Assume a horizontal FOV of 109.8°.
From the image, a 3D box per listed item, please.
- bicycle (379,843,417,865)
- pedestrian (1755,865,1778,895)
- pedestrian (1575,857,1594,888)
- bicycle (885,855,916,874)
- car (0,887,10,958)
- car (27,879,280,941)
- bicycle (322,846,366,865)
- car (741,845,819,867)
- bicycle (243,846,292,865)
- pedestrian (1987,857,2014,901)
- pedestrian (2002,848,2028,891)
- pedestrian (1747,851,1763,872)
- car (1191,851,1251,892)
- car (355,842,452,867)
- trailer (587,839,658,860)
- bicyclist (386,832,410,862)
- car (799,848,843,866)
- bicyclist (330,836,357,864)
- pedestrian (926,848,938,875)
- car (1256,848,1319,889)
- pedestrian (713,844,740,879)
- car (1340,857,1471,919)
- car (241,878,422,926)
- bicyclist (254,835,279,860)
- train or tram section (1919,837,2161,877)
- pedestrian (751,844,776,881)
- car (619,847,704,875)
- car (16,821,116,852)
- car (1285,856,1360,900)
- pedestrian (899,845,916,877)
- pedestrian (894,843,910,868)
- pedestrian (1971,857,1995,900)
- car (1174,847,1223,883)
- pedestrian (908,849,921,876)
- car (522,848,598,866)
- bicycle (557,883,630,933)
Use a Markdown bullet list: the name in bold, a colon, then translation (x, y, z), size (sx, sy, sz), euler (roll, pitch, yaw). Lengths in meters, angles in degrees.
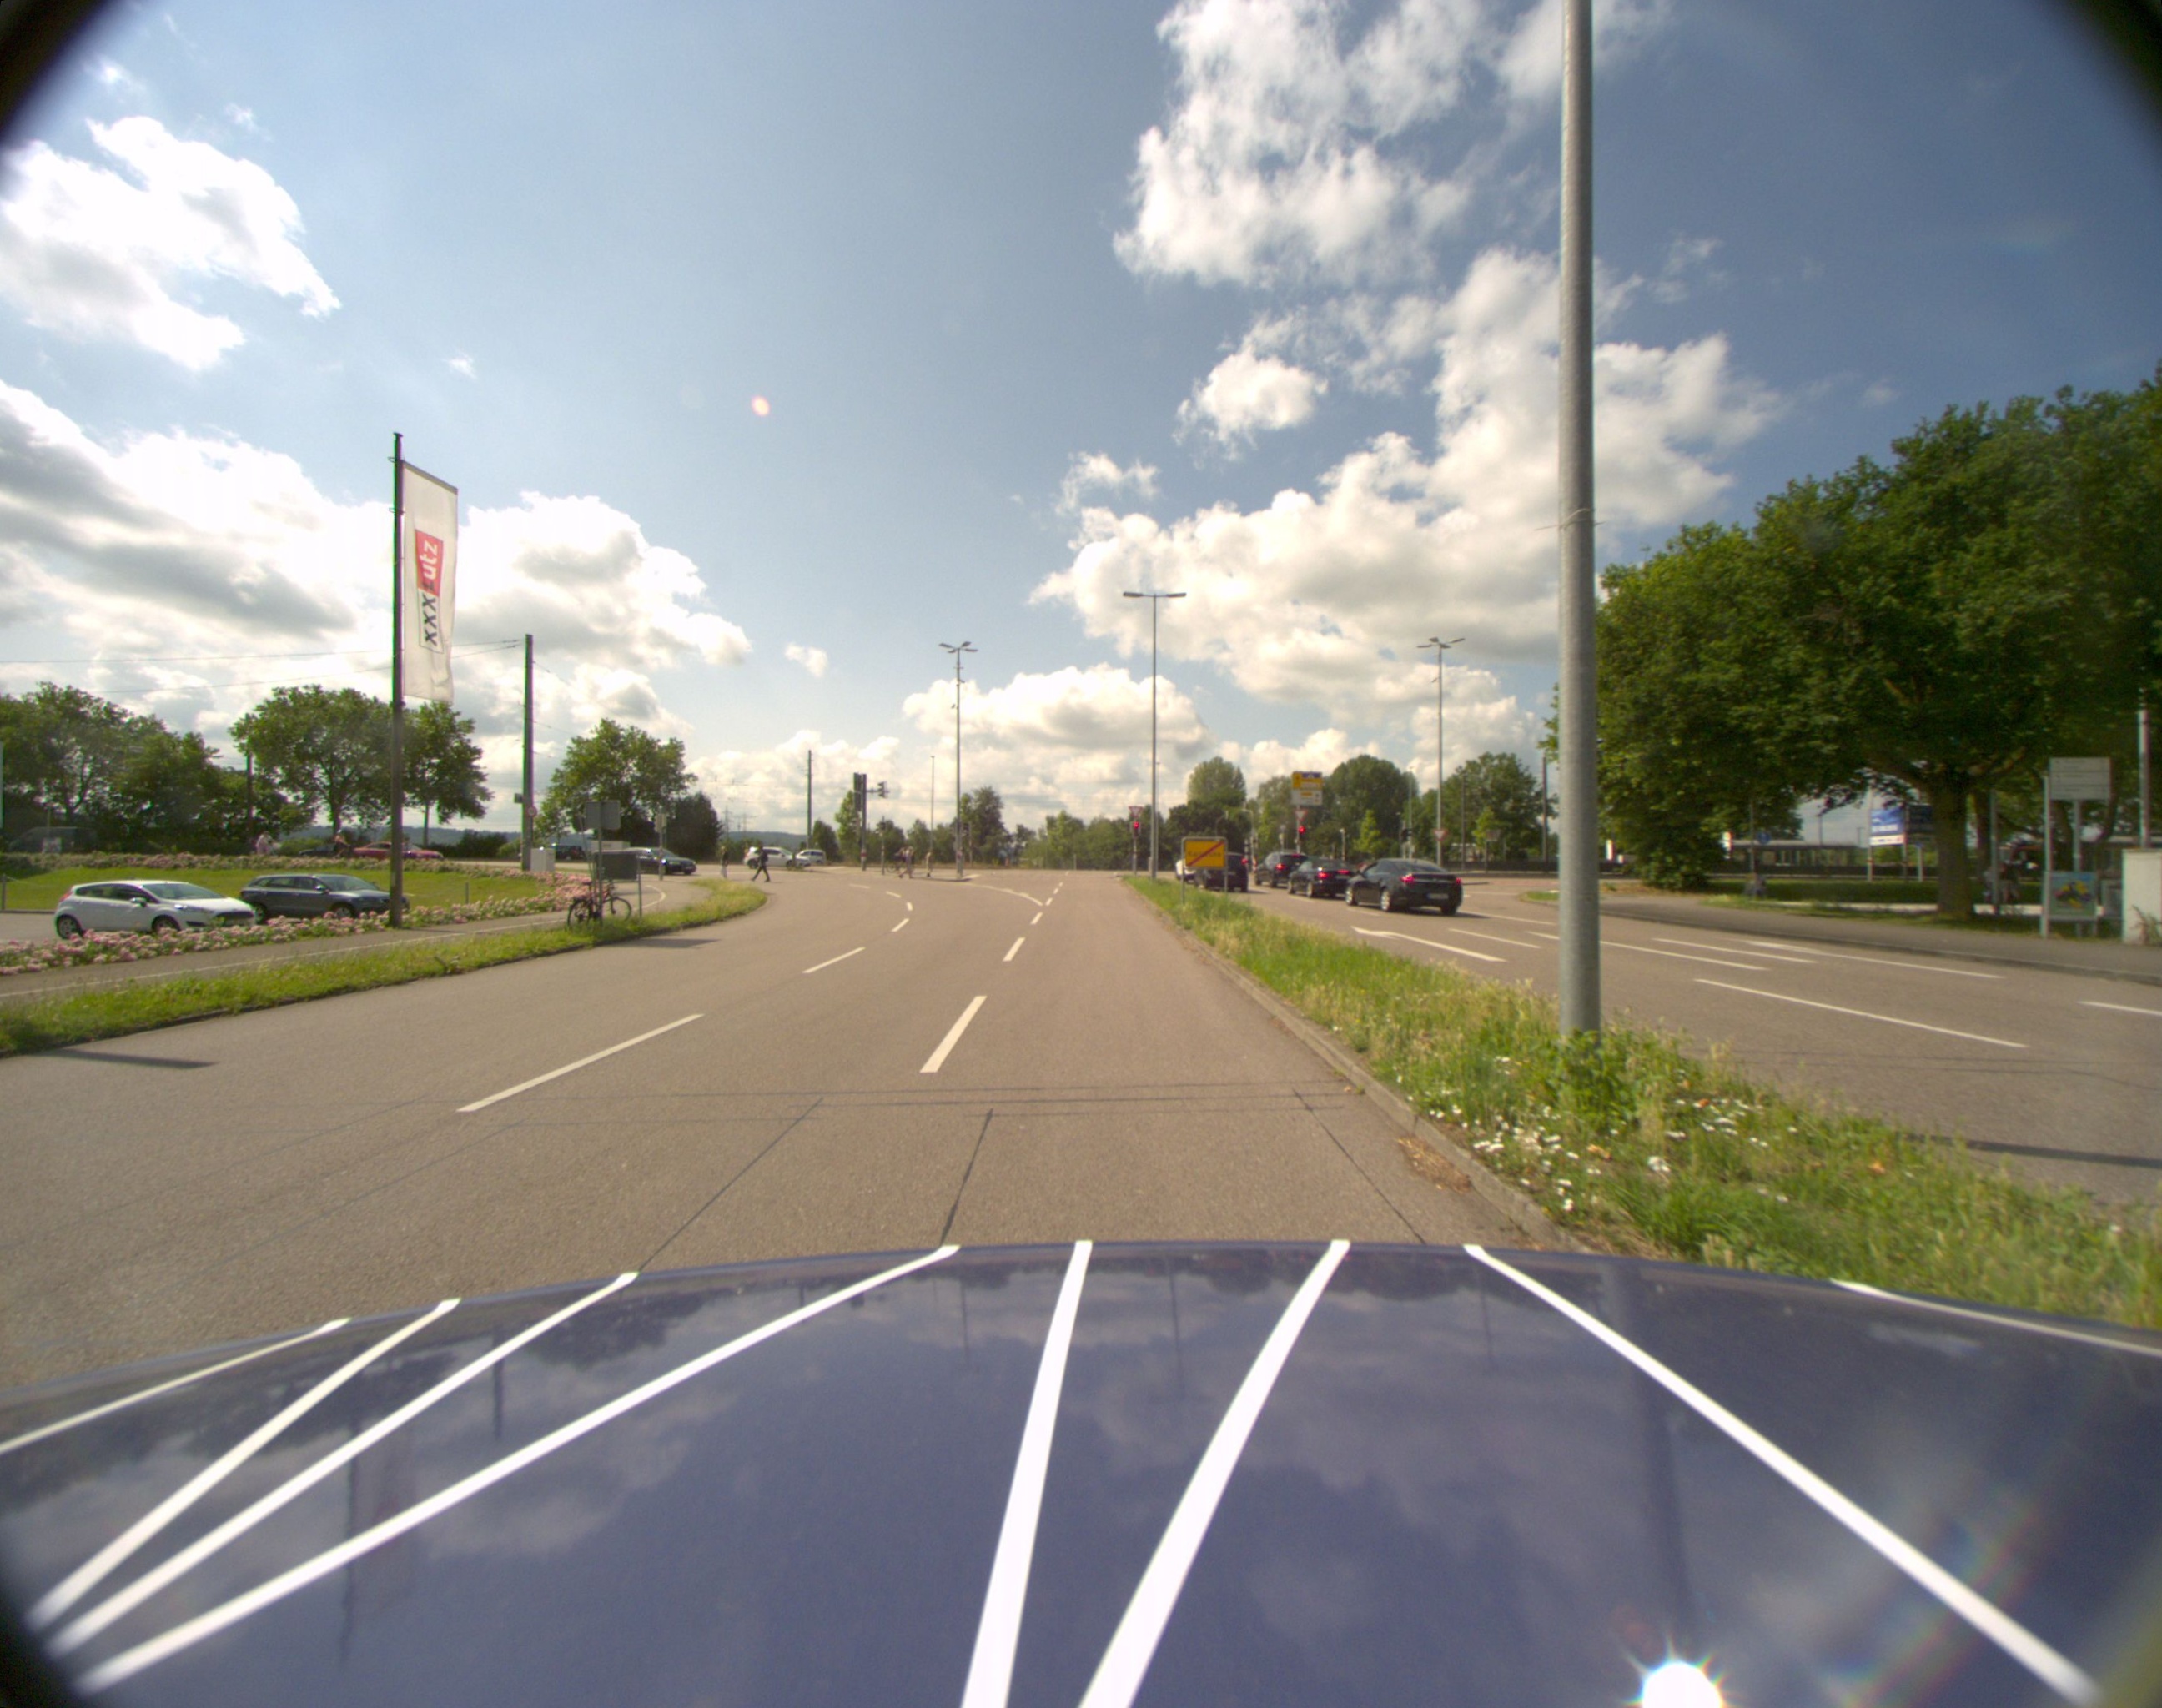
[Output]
- **bicycle**: translation (-35.766, 0.007, 39.791), size (1.503, 1.158, 0.621), euler (-1, 0, 5)
- **pedestrian**: translation (30.304, 1.133, 33.588), size (0.491, 1.316, 0.538), euler (0, 1, 1)
- **pedestrian**: translation (24.209, 0.894, 36.505), size (0.439, 1.481, 0.619), euler (-1, 1, -16)
- **bicycle**: translation (-11.355, 0.681, 47.791), size (1.699, 1.040, 0.506), euler (8, -4, -36)
- **car**: translation (-23.817, 1.392, 14.441), size (4.369, 1.408, 1.857), euler (0, 0, 1)
- **car**: translation (-23.745, 1.414, 19.572), size (4.369, 1.431, 1.796), euler (0, 0, 1)
- **bicycle**: translation (-38.789, 0.073, 39.979), size (1.695, 0.955, 0.666), euler (-1, 0, 1)
- **car**: translation (-20.415, 0.132, 51.670), size (4.495, 1.405, 2.013), euler (0, 0, -2)
- **bicycle**: translation (-42.989, 0.092, 40.166), size (1.986, 0.955, 0.597), euler (-1, 0, 1)
- **pedestrian**: translation (35.593, 0.953, 29.421), size (0.410, 1.693, 0.516), euler (-1, 0, -5)
- **pedestrian**: translation (36.641, 0.612, 29.809), size (0.528, 1.693, 0.410), euler (-1, 0, -8)
- **pedestrian**: translation (60.621, 0.679, 68.345), size (0.792, 1.842, 0.761), euler (1, 0, -7)
- **car**: translation (5.528, 0.637, 30.509), size (1.608, 1.485, 4.131), euler (2, 1, 0)
- **car**: translation (-39.894, 0.003, 44.791), size (4.245, 1.352, 1.749), euler (1, 1, 2)
- **trailer**: translation (-41.688, -0.382, 69.187), size (5.182, 1.820, 1.823), euler (-1, 1, -8)
- **bicyclist**: translation (-35.763, -0.365, 39.786), size (0.696, 1.526, 0.621), euler (-1, 0, 5)
- **car**: translation (-24.285, 0.253, 71.087), size (3.491, 1.448, 1.699), euler (-3, 3, -8)
- **bicyclist**: translation (-38.821, -0.200, 39.995), size (0.742, 1.466, 0.651), euler (-1, 0, 2)
- **pedestrian**: translation (-8.572, 0.443, 43.737), size (0.556, 1.515, 0.470), euler (-1, 0, 10)
- **car**: translation (9.357, 0.615, 34.757), size (1.775, 1.606, 3.999), euler (2, 2, 0)
- **pedestrian**: translation (-18.103, 0.375, 38.781), size (0.860, 1.755, 0.867), euler (0, 1, 28)
- **car**: translation (8.793, 0.852, 21.042), size (1.668, 1.413, 4.518), euler (2, 1, 0)
- **car**: translation (-23.770, 1.504, 24.200), size (3.997, 1.410, 1.715), euler (0, 1, -1)
- **bicyclist**: translation (-43.037, -0.327, 40.168), size (0.687, 1.317, 0.593), euler (-1, 0, 2)
- **train or tram section**: translation (87.572, 0.371, 65.846), size (25.112, 3.014, 4.530), euler (1, 0, -1)
- **pedestrian**: translation (-15.794, 0.425, 37.790), size (0.820, 1.792, 0.761), euler (0, 1, 28)
- **car**: translation (-23.500, 0.354, 42.594), size (4.192, 1.474, 1.919), euler (1, 1, 20)
- **car**: translation (-92.248, -1.568, 69.109), size (5.675, 2.588, 1.992), euler (1, -2, -7)
- **car**: translation (8.603, 0.803, 27.414), size (1.415, 1.383, 4.096), euler (2, 1, 1)
- **pedestrian**: translation (-9.552, 0.384, 41.904), size (0.688, 1.718, 0.701), euler (1, 2, 12)
- **pedestrian**: translation (-11.262, 0.087, 47.848), size (0.687, 1.526, 0.505), euler (8, -4, -35)
- **pedestrian**: translation (35.533, 0.962, 29.941), size (0.404, 1.693, 0.450), euler (-1, 0, -5)
- **car**: translation (5.719, 0.490, 37.431), size (1.712, 1.610, 4.377), euler (2, 1, 0)
- **pedestrian**: translation (-9.476, 0.475, 43.172), size (0.584, 1.515, 0.469), euler (0, 1, 10)
- **car**: translation (-46.893, 0.277, 68.451), size (5.251, 1.565, 1.998), euler (0, 1, -7)
- **bicycle**: translation (-10.396, 1.133, 16.254), size (0.518, 0.947, 1.544), euler (-1, 1, 1)
